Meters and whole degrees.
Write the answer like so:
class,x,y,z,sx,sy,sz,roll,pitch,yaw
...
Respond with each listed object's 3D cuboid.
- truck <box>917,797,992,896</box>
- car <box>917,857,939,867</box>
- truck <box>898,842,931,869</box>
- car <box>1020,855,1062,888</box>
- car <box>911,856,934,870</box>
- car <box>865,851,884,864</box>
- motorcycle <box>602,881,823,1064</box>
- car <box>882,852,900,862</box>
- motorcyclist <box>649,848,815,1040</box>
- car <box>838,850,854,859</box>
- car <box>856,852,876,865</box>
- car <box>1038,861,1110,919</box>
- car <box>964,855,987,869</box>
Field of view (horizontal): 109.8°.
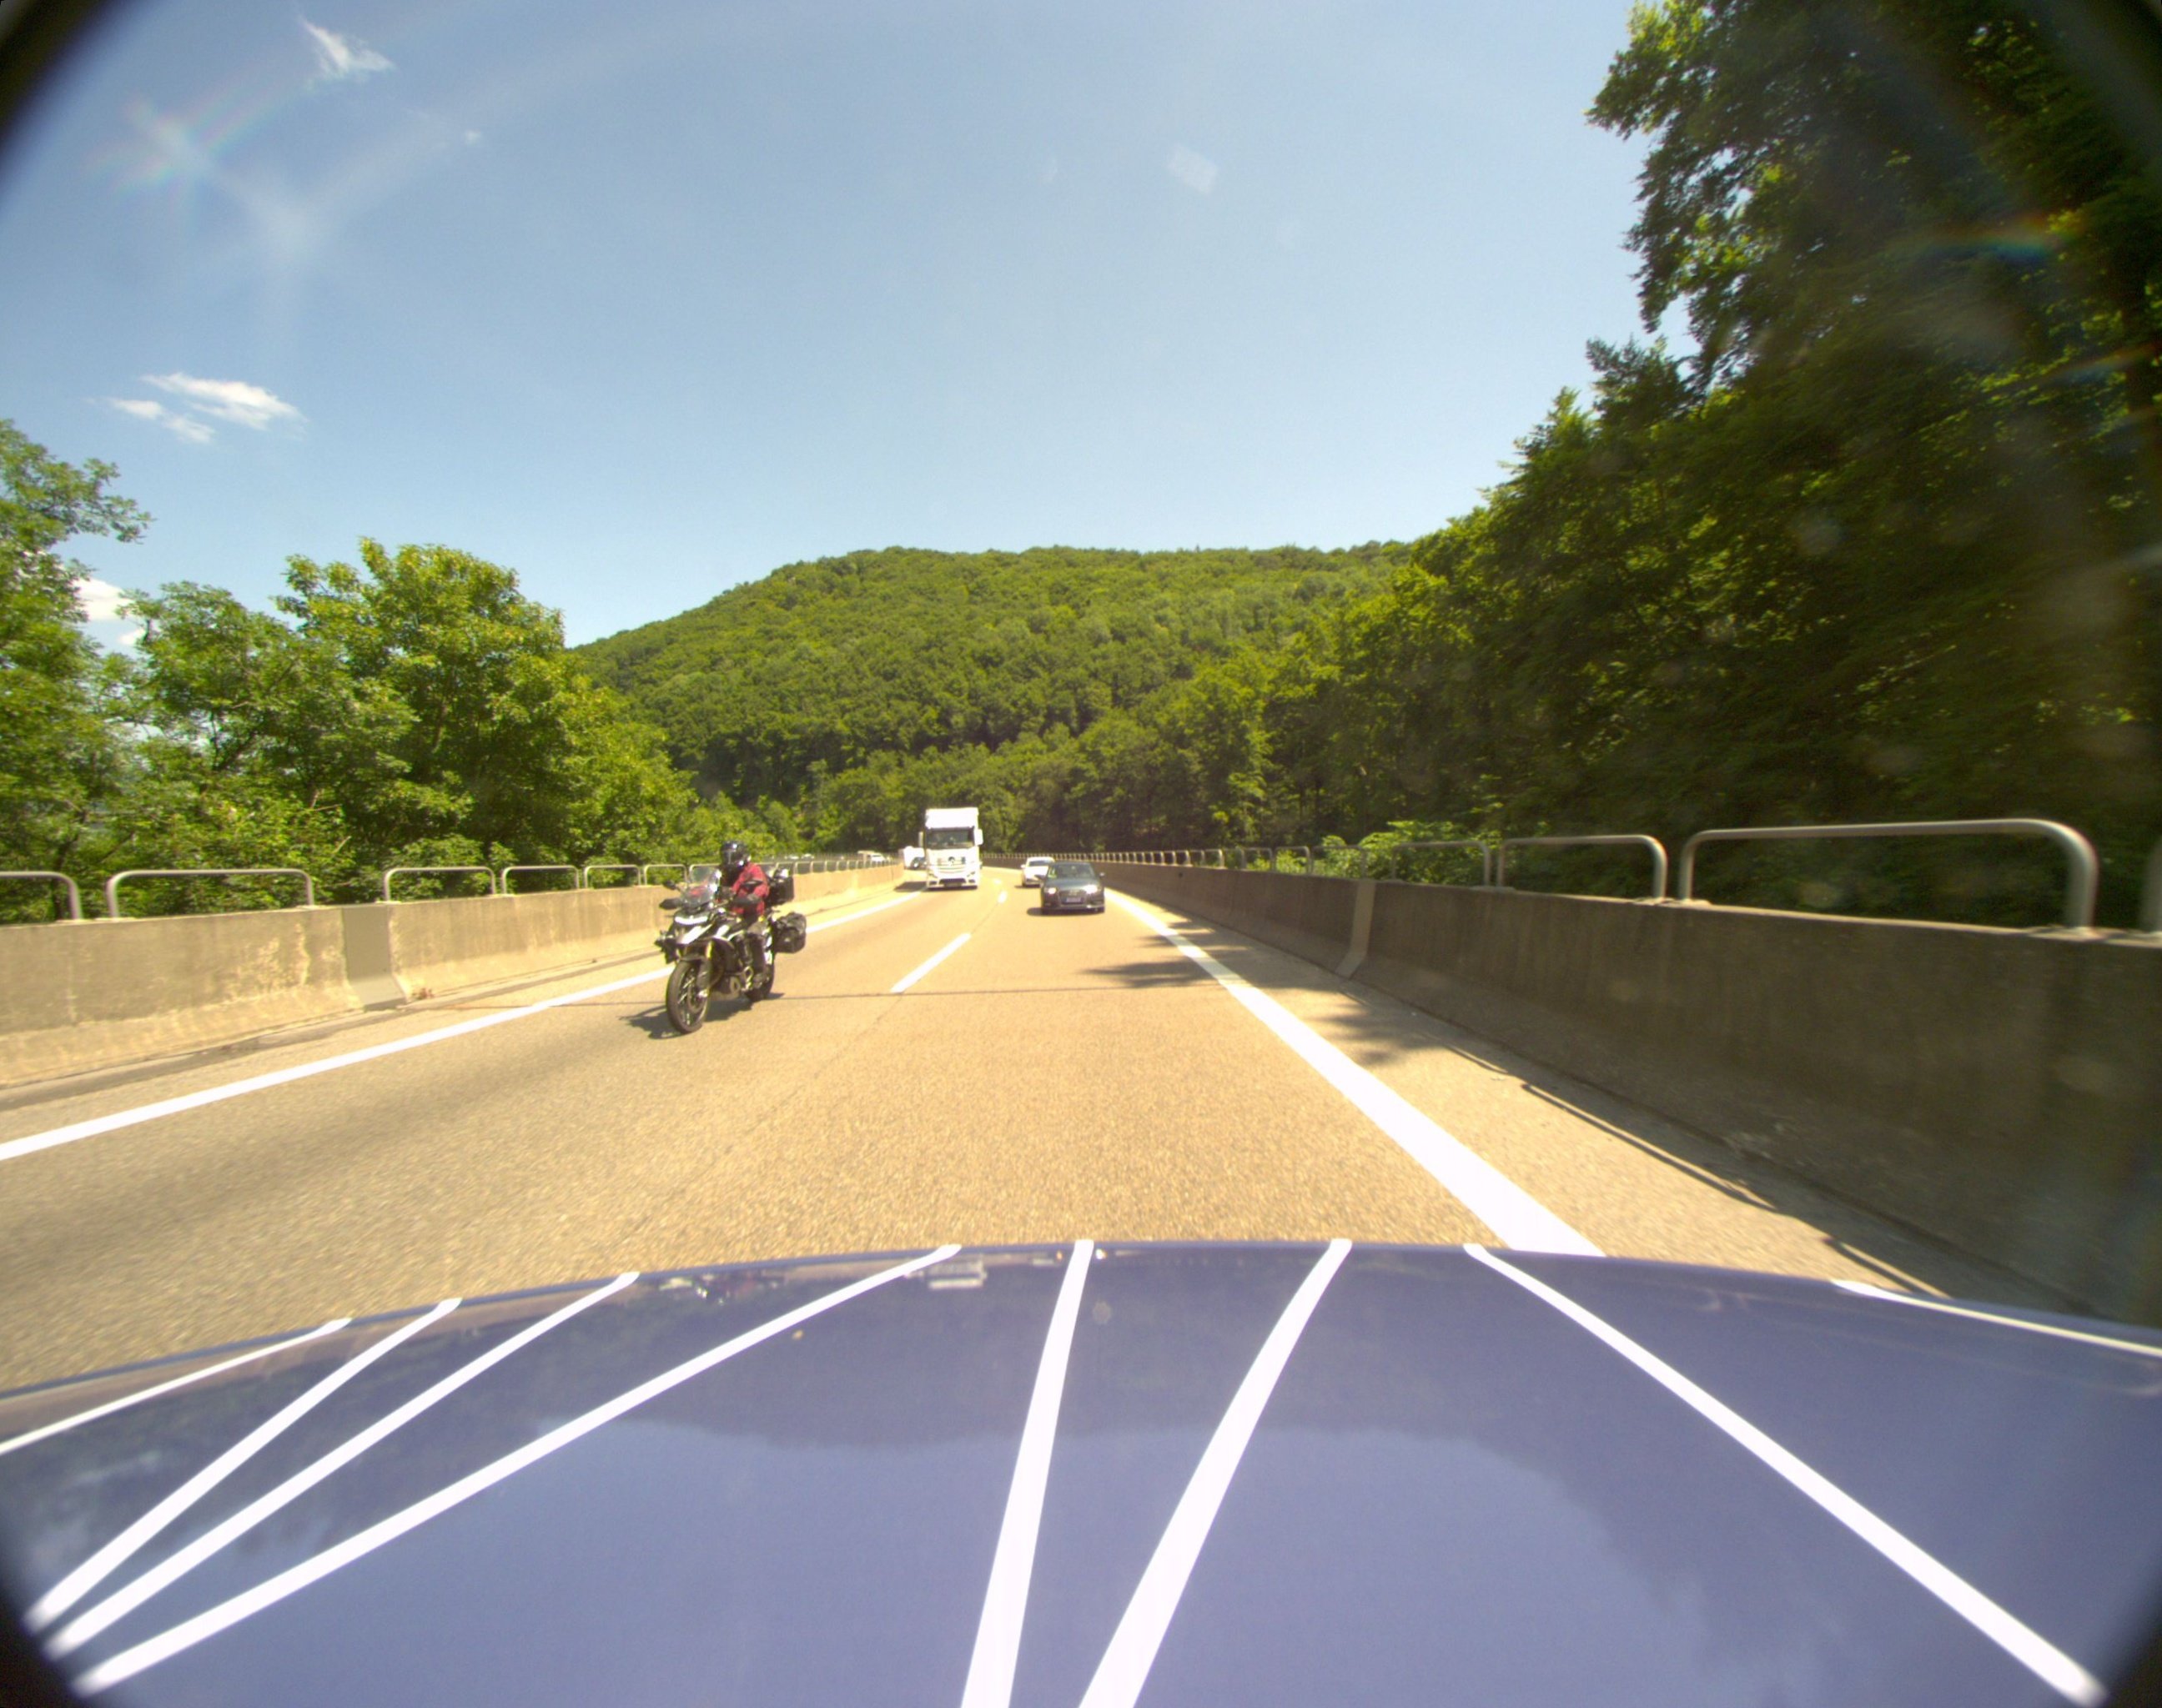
class,x,y,z,sx,sy,sz,roll,pitch,yaw
truck,-6.790,-0.325,40.170,2.971,4.108,16.691,-2,0,-10
car,-21.422,1.115,106.453,2.003,1.444,3.991,-1,0,-27
truck,-20.621,0.176,93.909,2.622,3.084,6.841,-2,0,-24
car,-2.052,0.843,38.109,1.756,1.460,3.979,-3,1,-7
car,-18.548,1.049,88.836,1.759,1.480,3.974,-1,0,-24
car,-33.074,0.493,121.905,2.003,2.002,3.991,-1,1,-29
motorcycle,-3.547,1.043,7.728,0.975,1.411,2.680,-1,0,-2
car,-33.614,0.555,134.547,2.003,1.783,3.990,-2,0,-32
motorcyclist,-3.520,0.845,7.839,1.063,1.790,1.338,-1,1,-2
car,-48.696,0.150,157.359,2.003,1.783,3.990,-2,1,-34
car,-35.717,0.768,126.120,2.003,2.002,3.990,-1,0,-34
car,-0.280,0.925,21.329,1.756,1.350,4.120,-3,0,-3
car,-11.629,0.913,83.938,1.758,1.480,3.975,-1,0,-19
